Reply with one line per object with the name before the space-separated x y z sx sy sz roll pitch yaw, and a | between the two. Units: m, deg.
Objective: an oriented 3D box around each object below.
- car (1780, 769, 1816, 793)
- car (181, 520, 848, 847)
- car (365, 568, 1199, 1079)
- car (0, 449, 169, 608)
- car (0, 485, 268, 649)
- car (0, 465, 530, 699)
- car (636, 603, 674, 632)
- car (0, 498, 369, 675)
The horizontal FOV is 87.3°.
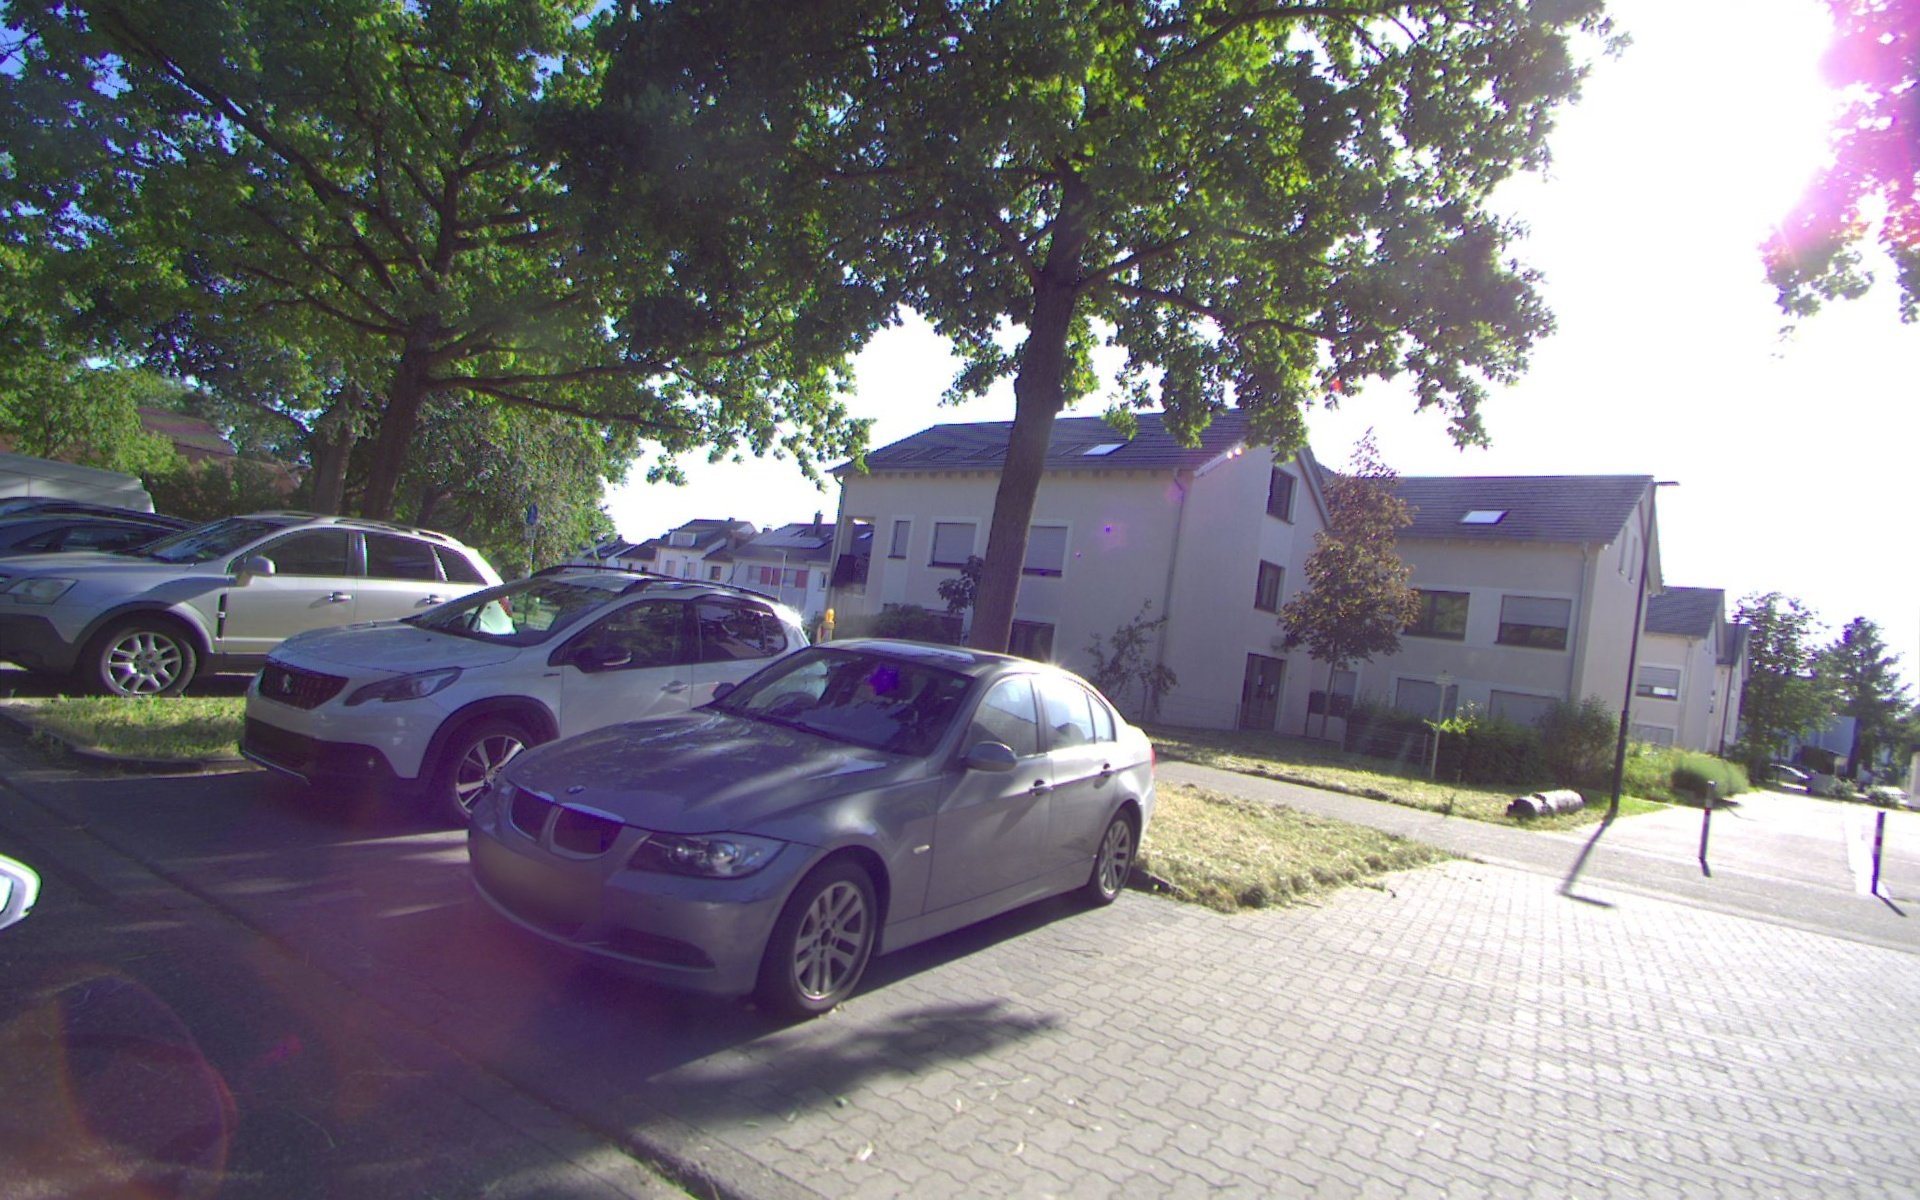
car | 62.171 13.429 74.647 1.884 1.405 4.445 7 -3 41
car | -2.742 0.533 7.088 1.747 1.515 3.891 7 -1 31
car | -0.387 0.885 5.477 1.879 1.406 4.454 7 -2 31
car | -15.229 -1.292 14.720 2.047 2.129 5.200 7 -2 30
car | -11.079 -0.497 11.910 1.901 1.585 4.225 7 -3 30
car | -6.625 -0.056 9.498 1.819 1.671 4.392 7 -1 30
car | -20.068 1.125 66.036 1.716 1.572 3.448 10 -3 -25
car | -8.886 -0.154 10.661 1.870 1.449 3.994 7 -2 33
